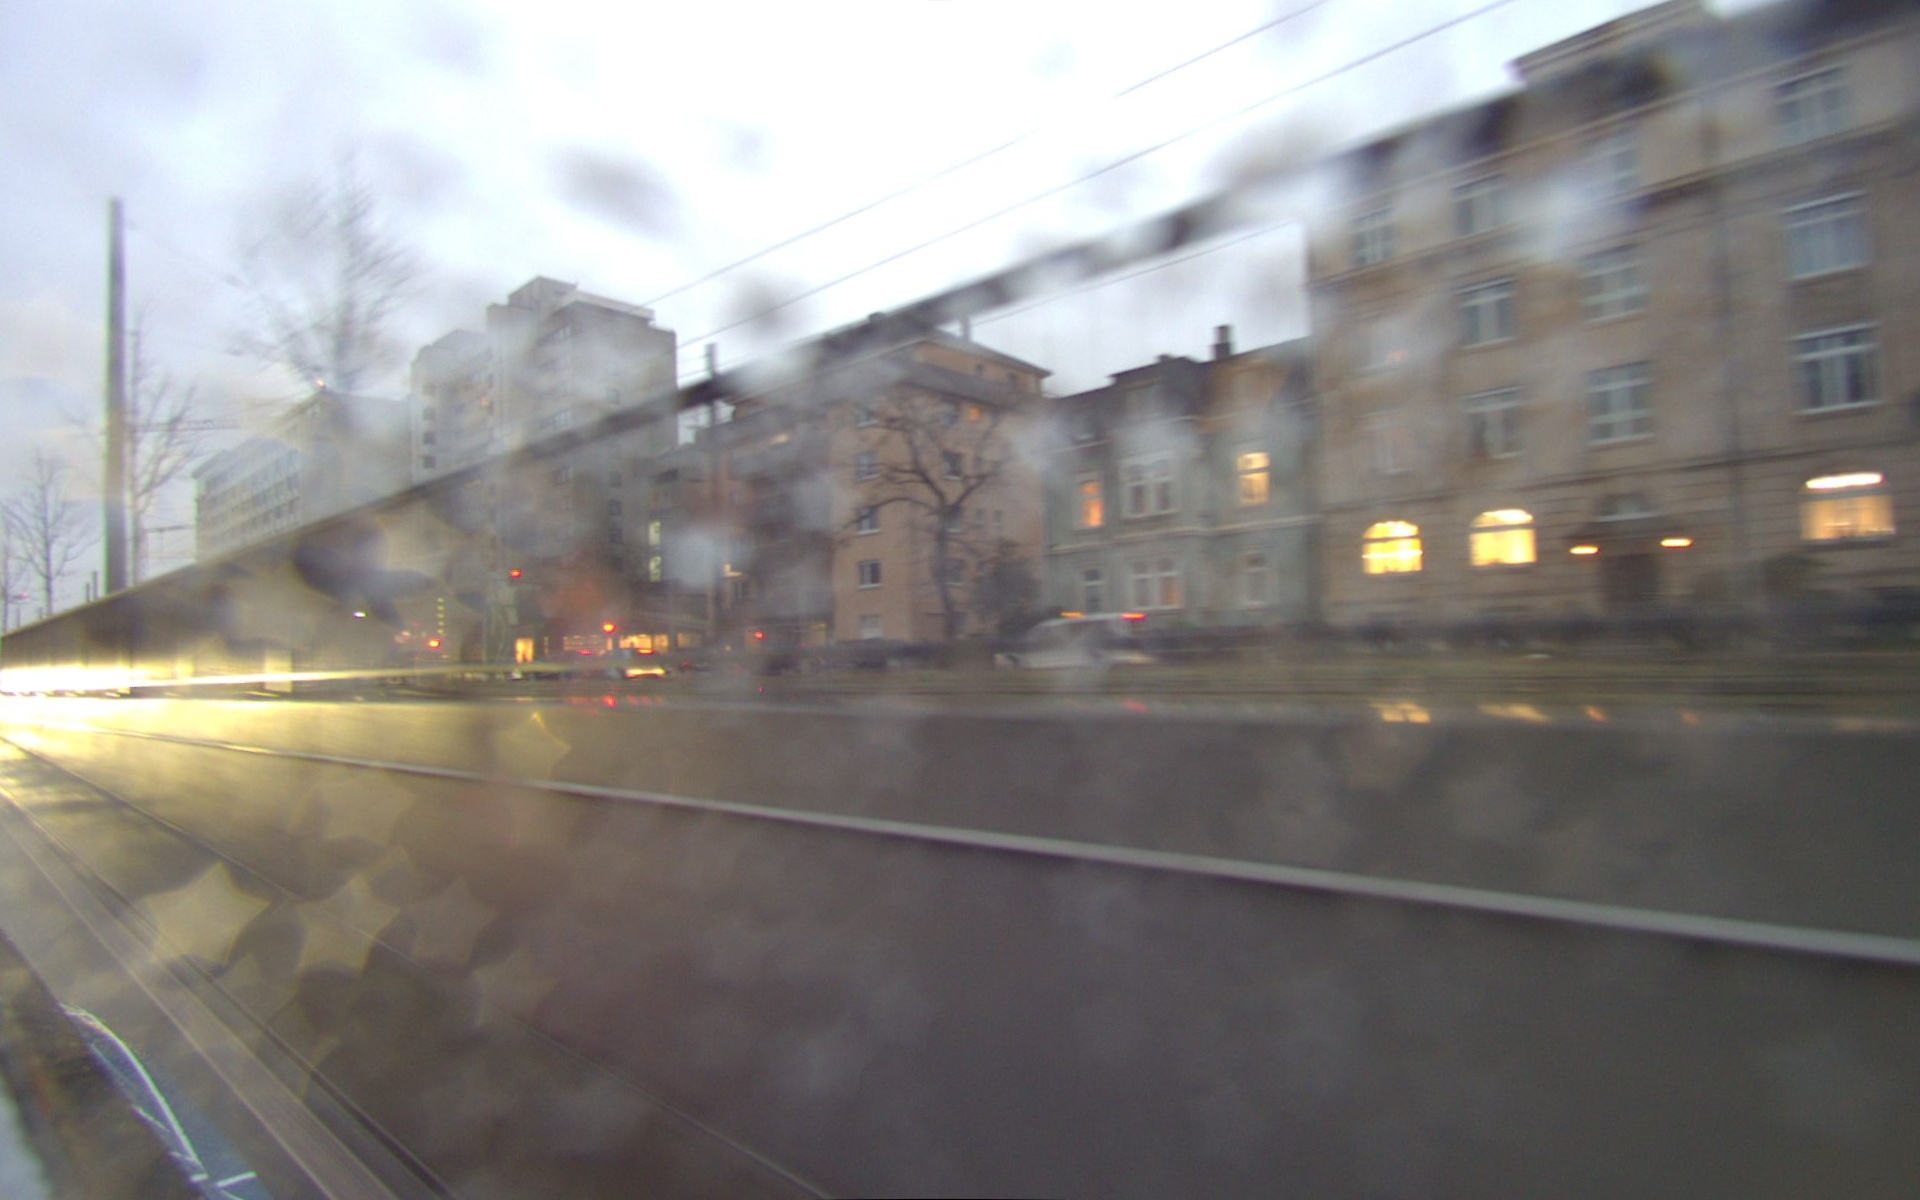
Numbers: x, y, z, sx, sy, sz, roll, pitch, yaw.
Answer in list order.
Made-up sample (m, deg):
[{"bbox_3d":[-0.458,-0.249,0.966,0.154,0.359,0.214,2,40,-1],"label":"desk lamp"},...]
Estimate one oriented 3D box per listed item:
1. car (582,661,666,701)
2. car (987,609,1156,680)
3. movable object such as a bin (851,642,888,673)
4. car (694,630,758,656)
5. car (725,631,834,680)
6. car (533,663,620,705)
[{"bbox_3d":[-15.074,3.624,45.331,3.999,1.597,1.782,-4,-2,42],"label":"car"},{"bbox_3d":[3.377,1.428,31.341,4.908,1.948,1.973,-5,-5,40],"label":"car"},{"bbox_3d":[-4.511,2.848,50.347,1.423,1.492,1.096,-5,-5,40],"label":"movable object such as a bin"},{"bbox_3d":[-15.550,2.860,67.262,1.777,1.564,3.786,-5,-4,41],"label":"car"},{"bbox_3d":[-6.979,2.156,38.889,4.109,1.705,1.972,-5,-5,41],"label":"car"},{"bbox_3d":[-16.423,3.576,43.246,3.999,1.597,1.782,-4,-2,42],"label":"car"}]
